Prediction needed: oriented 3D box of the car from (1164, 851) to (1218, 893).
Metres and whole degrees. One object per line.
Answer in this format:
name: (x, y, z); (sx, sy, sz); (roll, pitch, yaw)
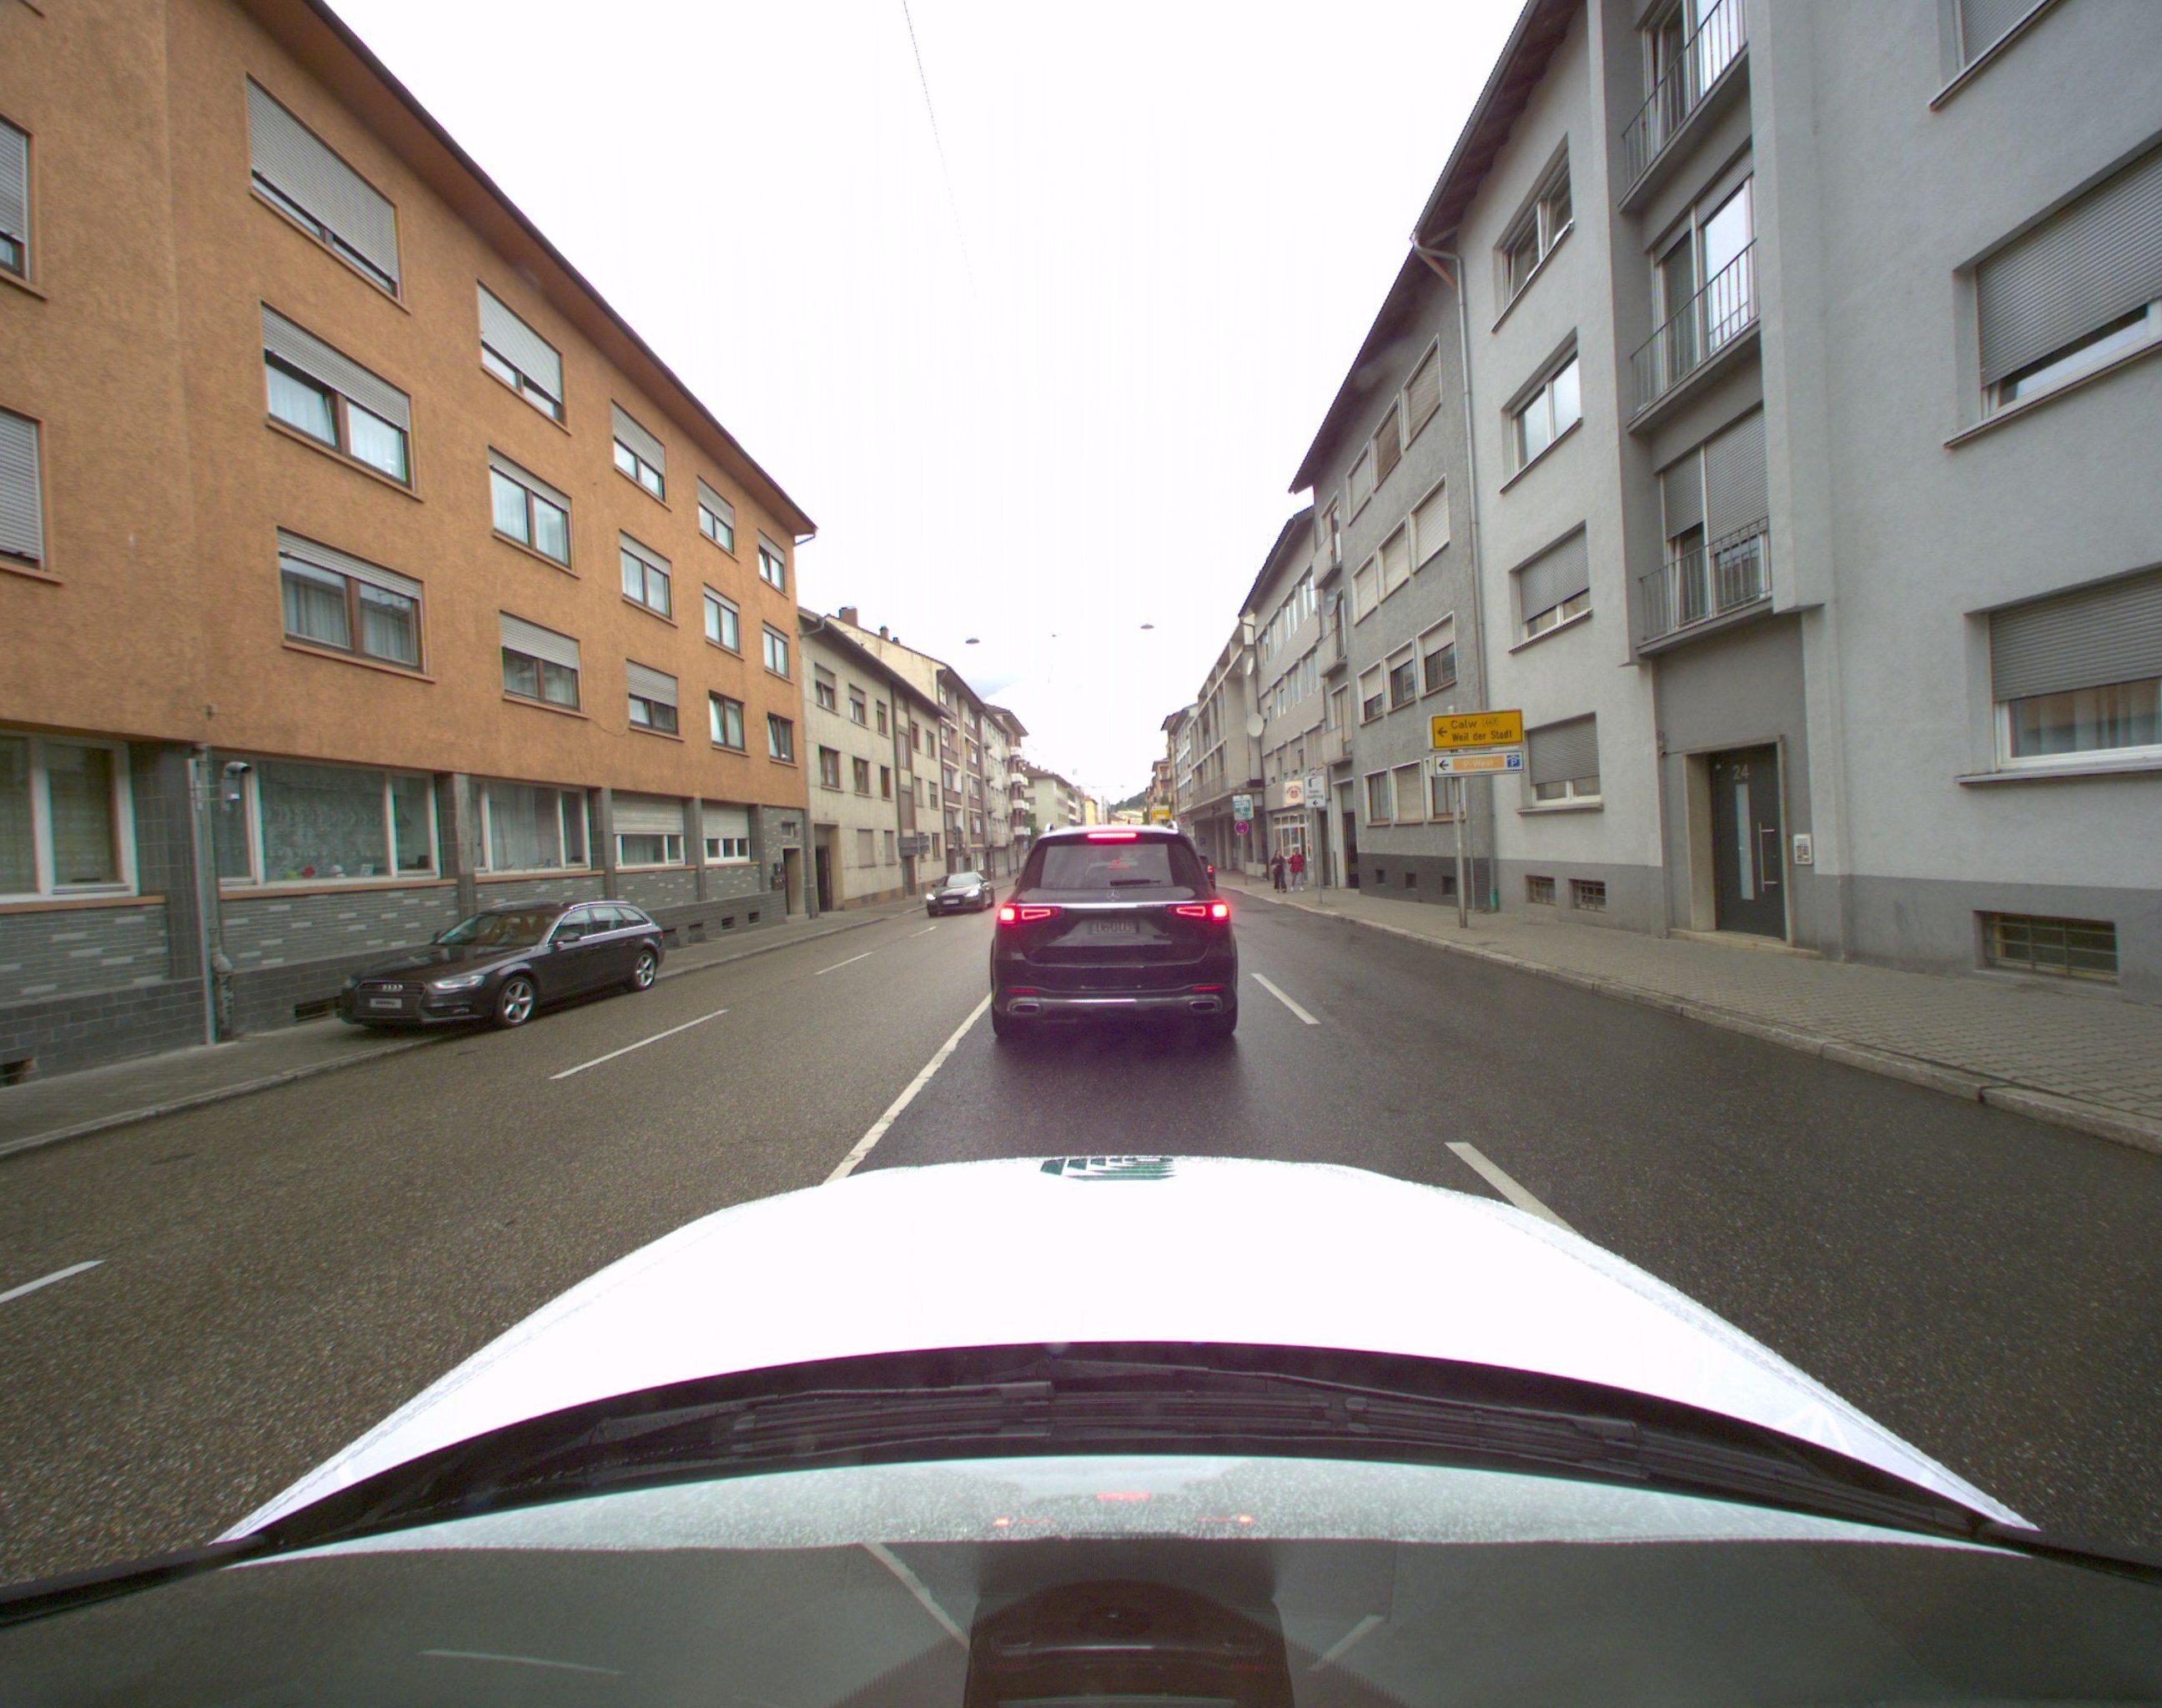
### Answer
car: (4.443, 0.701, 33.420); (1.760, 1.580, 4.002); (-2, 0, 2)

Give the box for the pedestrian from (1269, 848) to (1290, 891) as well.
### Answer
pedestrian: (7.077, 0.543, 29.068); (0.504, 1.500, 0.562); (-5, 0, 1)

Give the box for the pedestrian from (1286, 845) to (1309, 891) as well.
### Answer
pedestrian: (7.693, 0.496, 28.934); (0.558, 1.578, 0.526); (-5, 0, 1)

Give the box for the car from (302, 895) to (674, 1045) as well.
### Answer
car: (-7.738, 1.404, 11.341); (1.789, 1.438, 4.528); (0, 0, 1)

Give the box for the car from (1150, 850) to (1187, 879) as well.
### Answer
car: (5.553, 0.654, 52.362); (1.933, 1.775, 4.747); (-1, 0, 1)

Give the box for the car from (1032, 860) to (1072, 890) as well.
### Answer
car: (-1.487, 1.080, 43.425); (1.718, 1.390, 4.341); (-4, 0, 2)

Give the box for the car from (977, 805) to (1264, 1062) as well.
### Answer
car: (0.325, 0.568, 7.768); (2.018, 1.806, 4.001); (0, 0, 1)

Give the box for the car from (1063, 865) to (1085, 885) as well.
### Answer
car: (-0.637, 1.887, 74.054); (1.727, 1.575, 4.012); (-6, 0, 1)

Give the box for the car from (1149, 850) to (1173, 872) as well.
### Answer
car: (6.366, 0.546, 65.226); (1.800, 1.606, 4.216); (-1, 0, 4)

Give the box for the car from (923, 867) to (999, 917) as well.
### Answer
car: (-3.997, 1.240, 27.663); (1.761, 1.346, 3.890); (-6, 0, 2)
